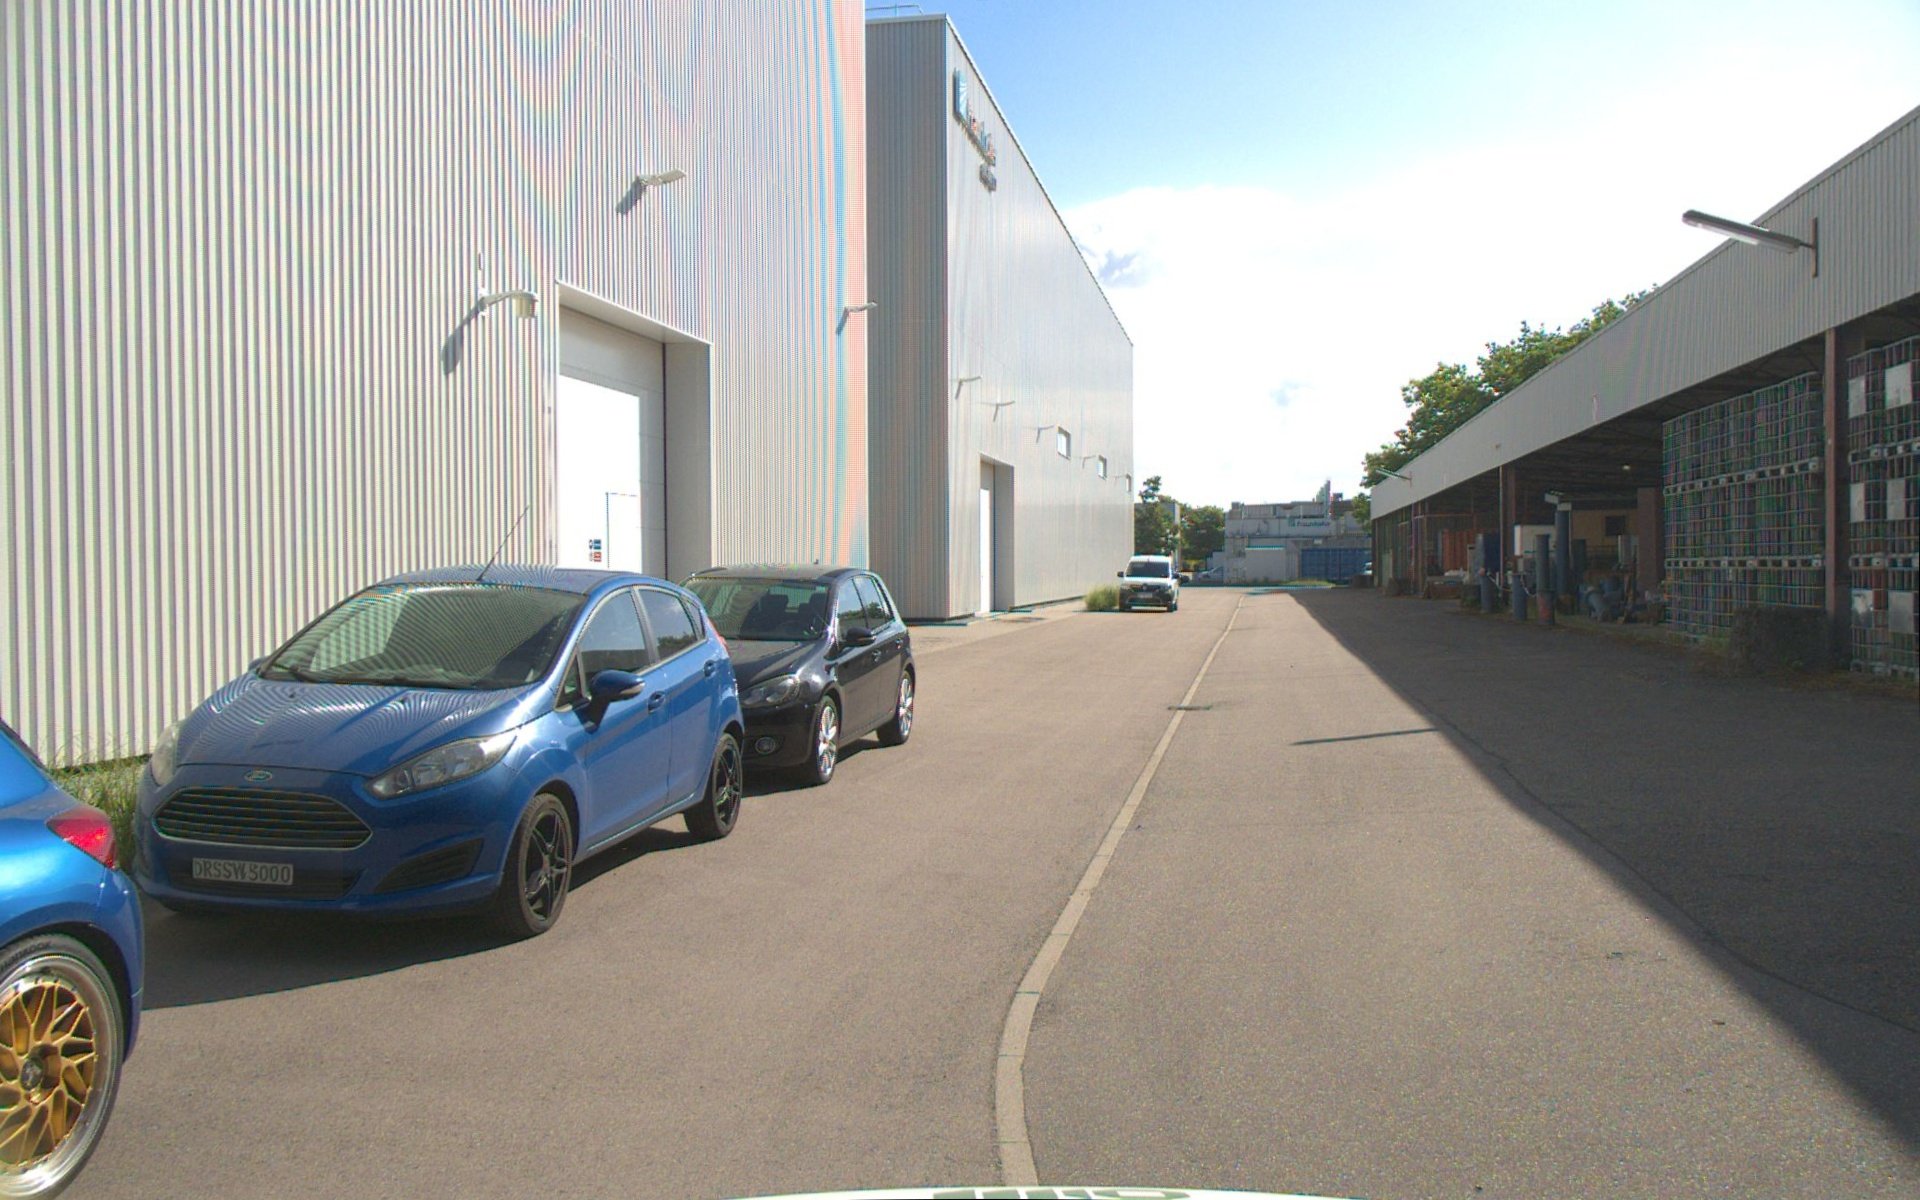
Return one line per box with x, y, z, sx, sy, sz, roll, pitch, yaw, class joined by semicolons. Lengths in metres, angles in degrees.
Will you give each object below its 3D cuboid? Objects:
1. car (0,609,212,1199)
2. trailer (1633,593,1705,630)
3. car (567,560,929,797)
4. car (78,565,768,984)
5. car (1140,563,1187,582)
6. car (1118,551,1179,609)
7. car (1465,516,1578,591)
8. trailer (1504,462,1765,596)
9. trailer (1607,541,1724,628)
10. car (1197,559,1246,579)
-3.053;0.754;2.435;1.633;1.373;3.958;1;1;9;car
12.187;0.199;28.444;0.950;0.577;0.733;1;3;6;trailer
-1.434;0.465;12.696;1.615;1.471;3.882;2;1;10;car
-2.182;0.579;7.852;1.585;1.472;3.768;0;1;9;car
16.816;-2.255;136.537;3.801;1.487;1.625;-1;1;10;car
6.291;-0.692;54.920;1.867;1.825;4.004;-1;1;8;car
19.615;-1.615;57.889;3.430;2.484;2.002;-2;1;11;car
18.888;-1.950;46.679;6.252;3.429;2.828;-2;1;9;trailer
13.397;-0.323;31.496;1.512;1.545;1.915;1;3;6;trailer
21.287;-2.517;134.606;3.802;1.487;1.625;-1;1;13;car
